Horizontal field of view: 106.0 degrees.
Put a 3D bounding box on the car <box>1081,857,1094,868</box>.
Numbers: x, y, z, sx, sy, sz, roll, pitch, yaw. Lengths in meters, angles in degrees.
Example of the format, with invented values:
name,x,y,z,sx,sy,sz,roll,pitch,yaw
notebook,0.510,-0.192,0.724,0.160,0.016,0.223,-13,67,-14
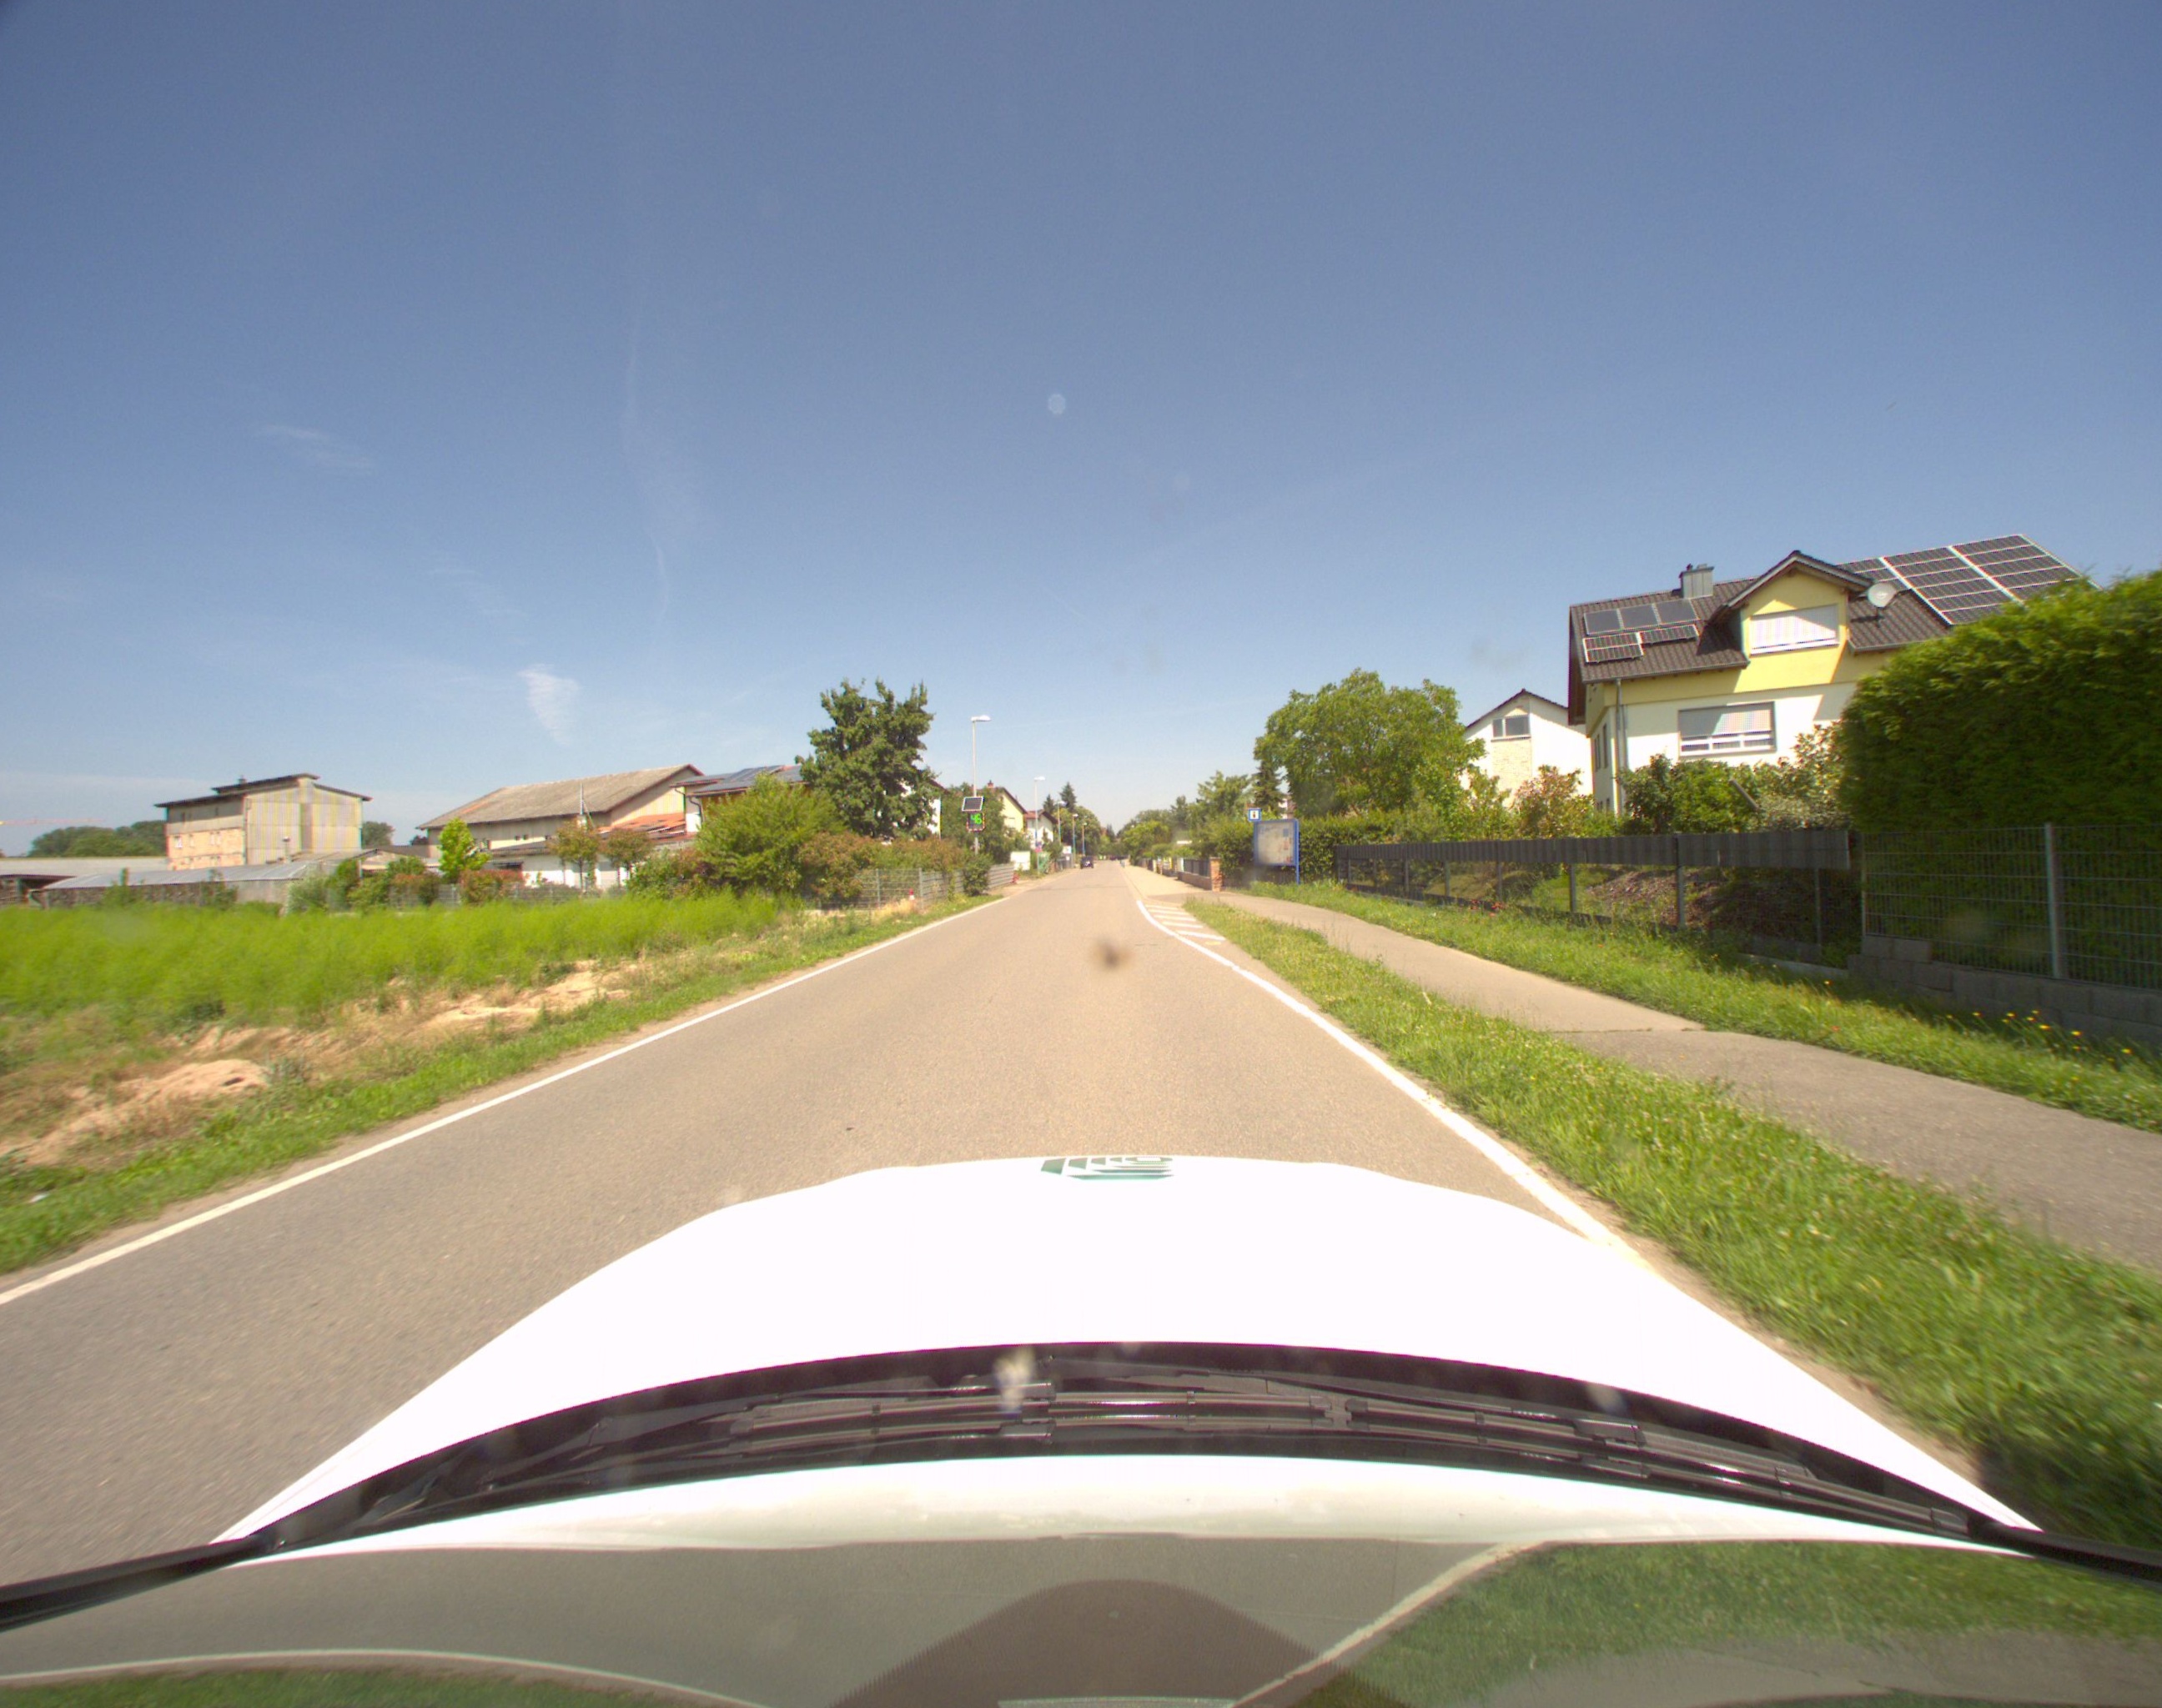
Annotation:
name,x,y,z,sx,sy,sz,roll,pitch,yaw
car,0.949,1.179,114.839,1.752,1.385,3.454,-3,0,2

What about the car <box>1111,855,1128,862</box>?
name,x,y,z,sx,sy,sz,roll,pitch,yaw
car,9.104,1.071,192.265,3.880,1.397,1.583,-3,0,1
